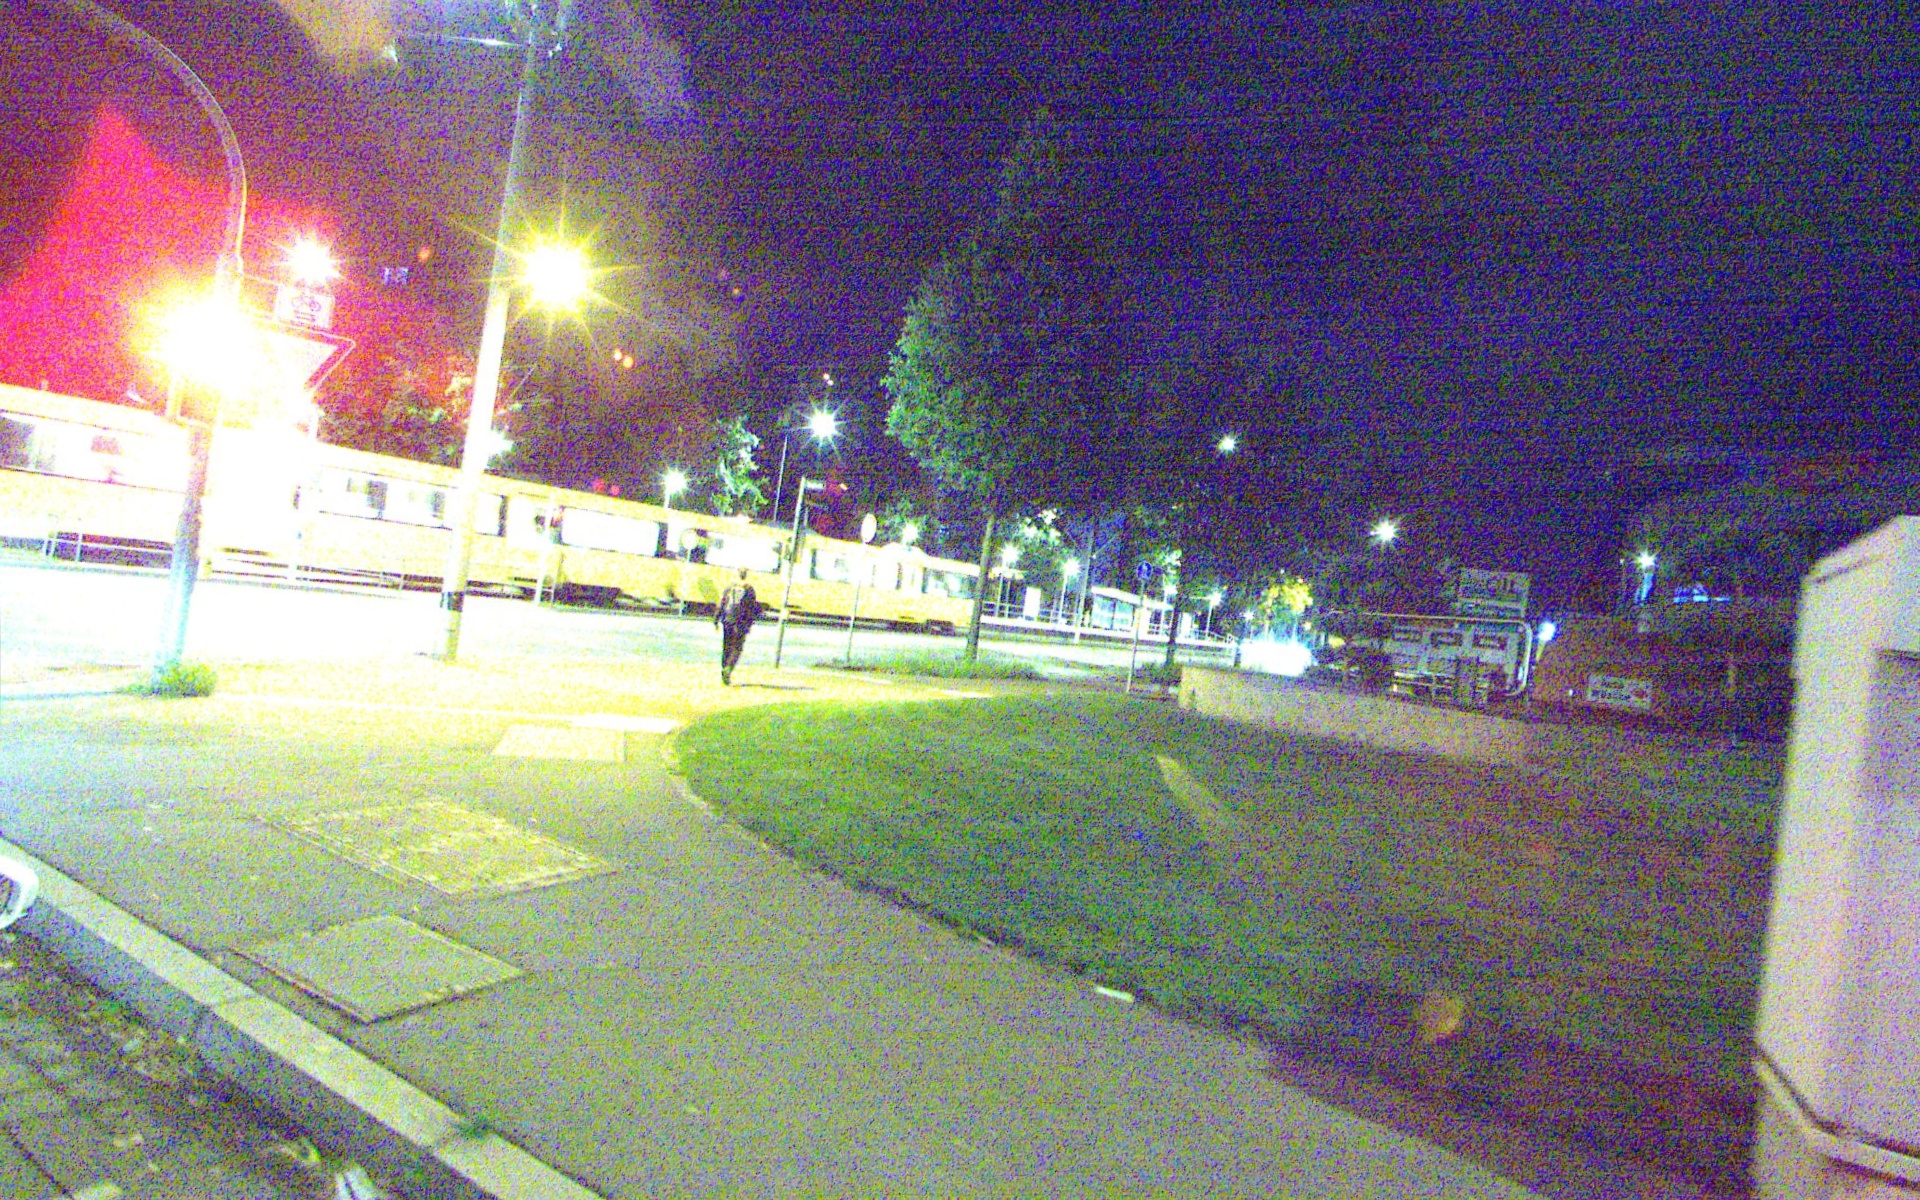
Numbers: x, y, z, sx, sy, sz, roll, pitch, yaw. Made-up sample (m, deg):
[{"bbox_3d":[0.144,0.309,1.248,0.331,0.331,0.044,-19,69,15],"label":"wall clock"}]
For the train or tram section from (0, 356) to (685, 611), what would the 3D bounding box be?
[{"bbox_3d":[-15.933,-2.452,27.202,2.918,3.897,18.424,9,1,35],"label":"train or tram section"}]

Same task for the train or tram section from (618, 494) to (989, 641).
[{"bbox_3d":[-5.368,-0.872,42.511,2.919,3.895,18.862,6,-1,35],"label":"train or tram section"}]

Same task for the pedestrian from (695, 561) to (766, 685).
[{"bbox_3d":[-3.270,0.322,14.288,0.867,1.677,0.835,2,1,-18],"label":"pedestrian"}]
